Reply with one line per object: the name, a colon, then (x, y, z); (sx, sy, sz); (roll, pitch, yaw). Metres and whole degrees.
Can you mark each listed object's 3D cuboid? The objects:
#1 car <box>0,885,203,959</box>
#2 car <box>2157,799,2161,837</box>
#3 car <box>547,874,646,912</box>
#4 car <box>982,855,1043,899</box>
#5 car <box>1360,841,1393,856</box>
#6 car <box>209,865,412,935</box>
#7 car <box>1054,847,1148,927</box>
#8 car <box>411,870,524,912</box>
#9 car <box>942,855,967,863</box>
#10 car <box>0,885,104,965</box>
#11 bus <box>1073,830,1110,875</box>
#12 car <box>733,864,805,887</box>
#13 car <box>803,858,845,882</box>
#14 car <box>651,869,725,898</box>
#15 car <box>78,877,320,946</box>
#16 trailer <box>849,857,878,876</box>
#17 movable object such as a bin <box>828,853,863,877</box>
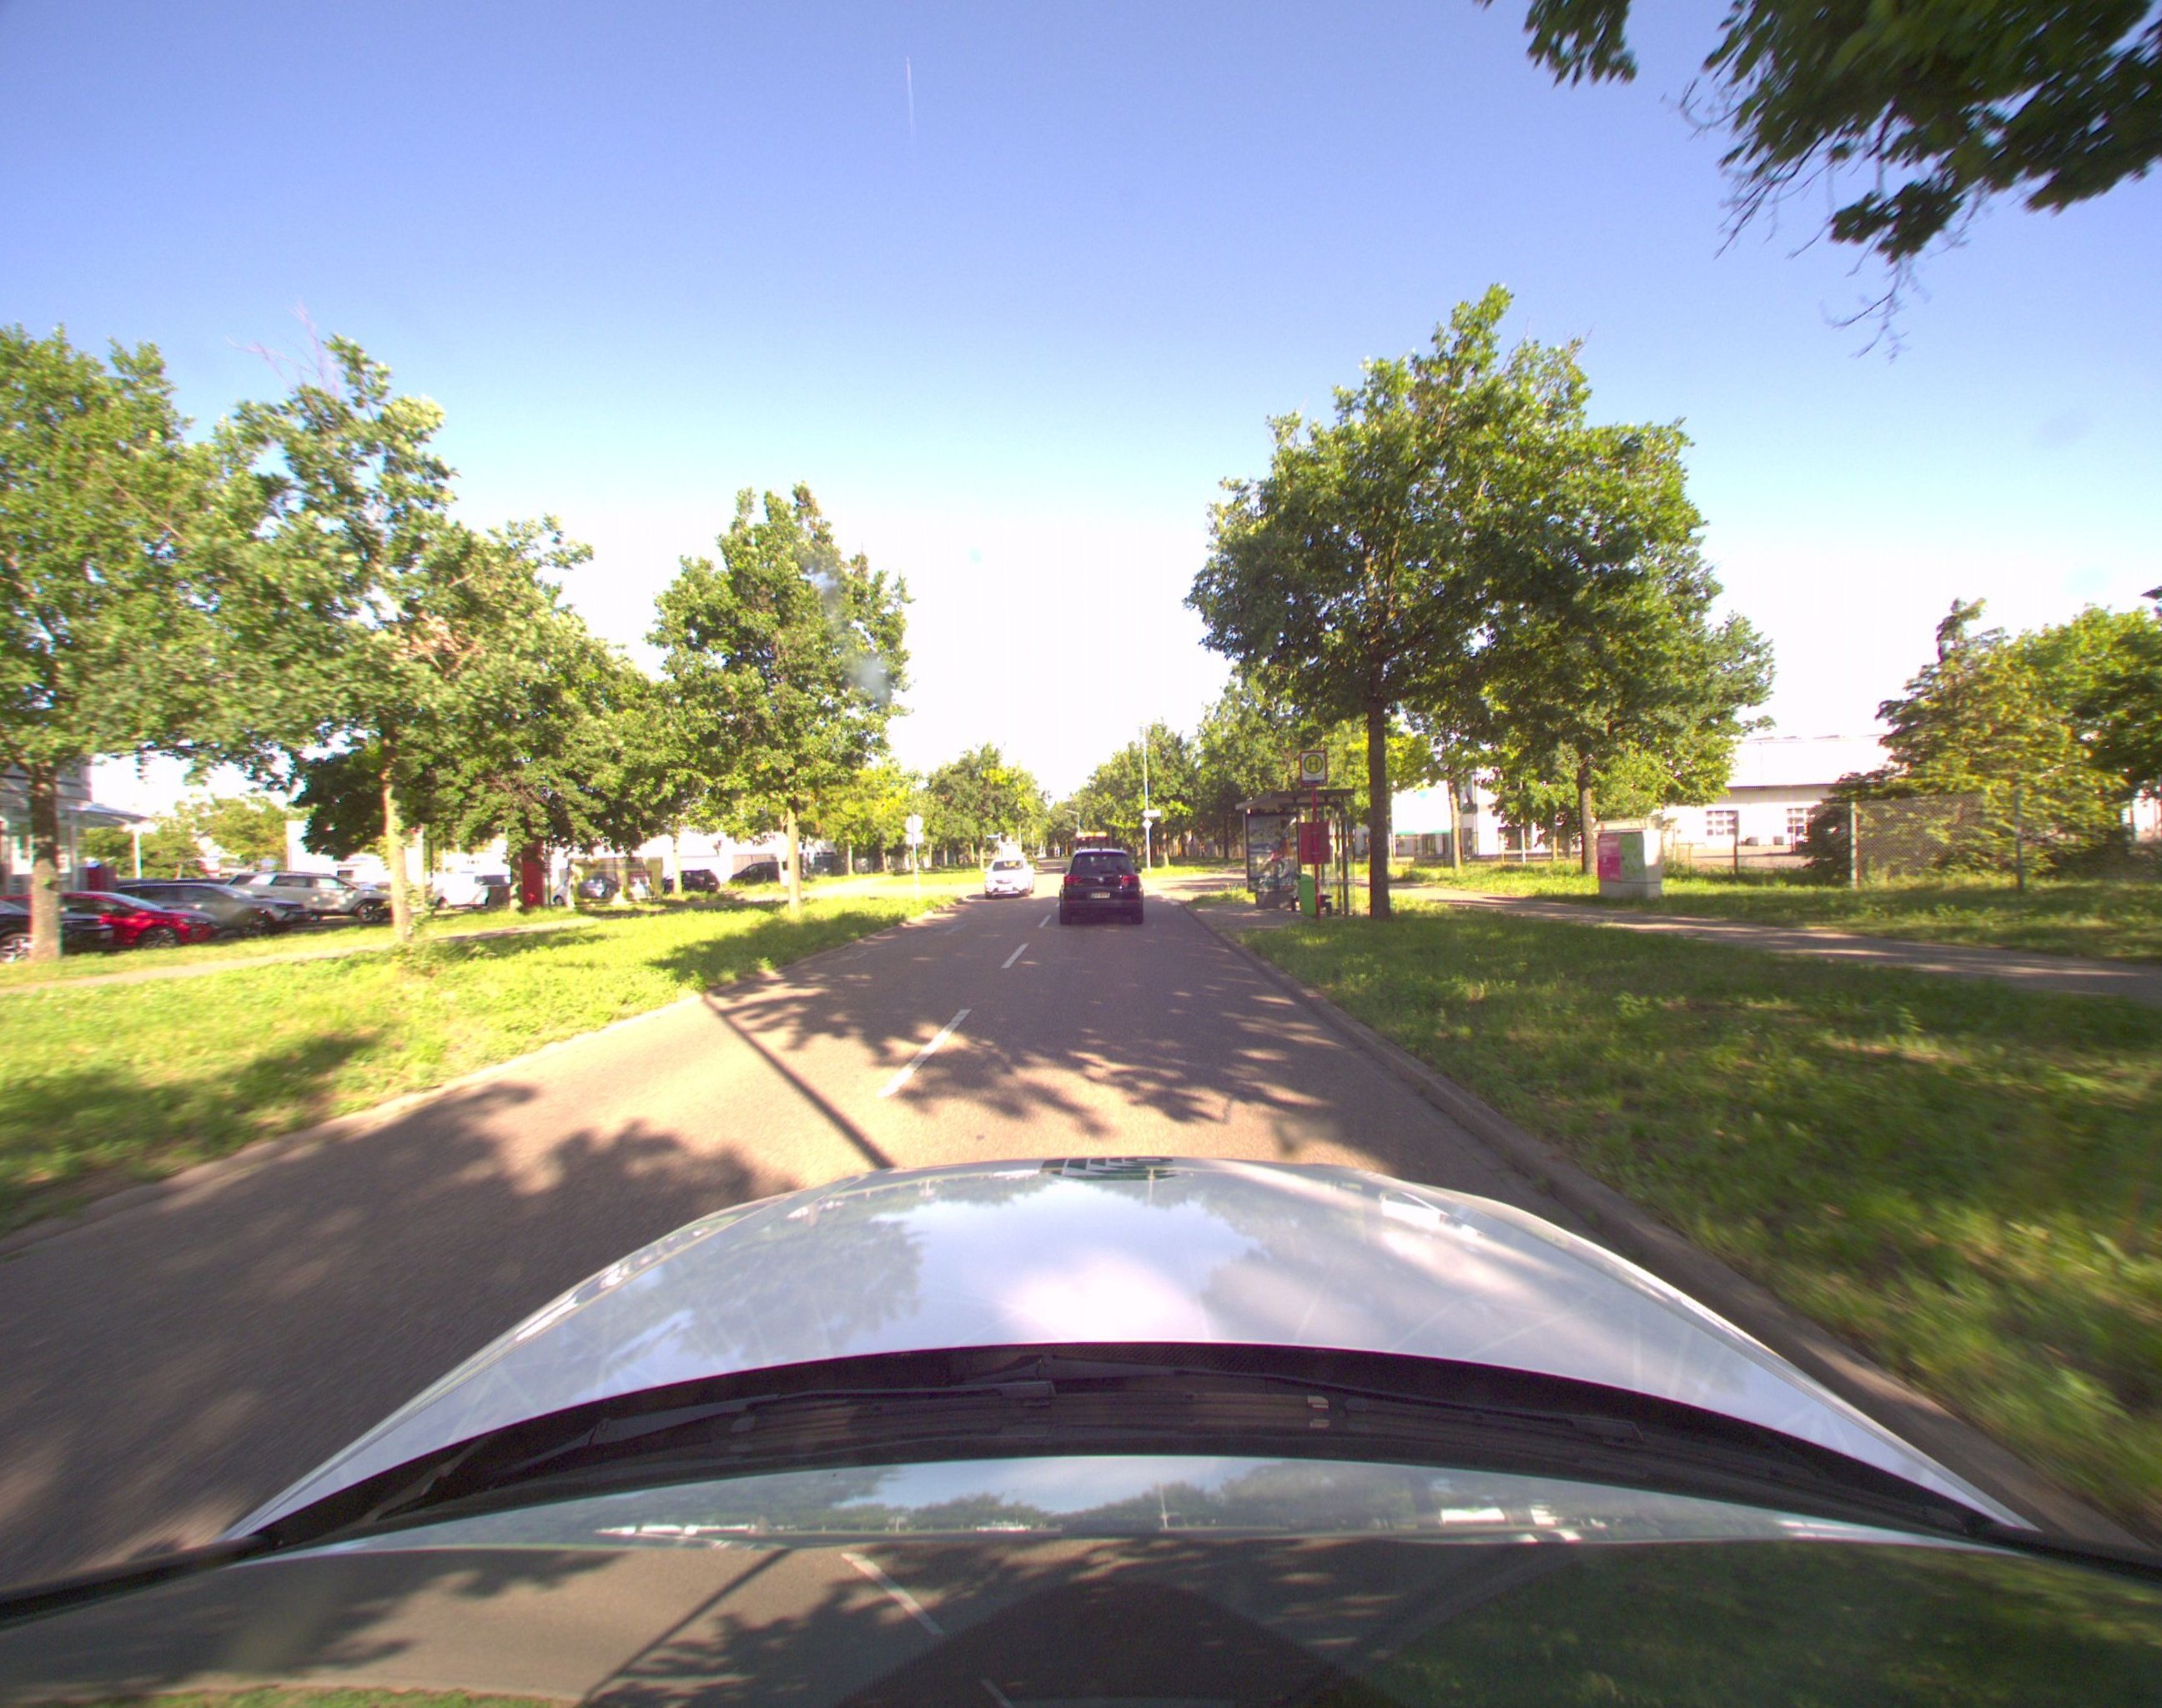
car: (-24.303, 1.617, 19.462); (4.189, 1.491, 1.977); (-2, 0, -37)
car: (56.907, -1.885, 40.184); (1.979, 1.986, 4.753); (-2, 0, 14)
car: (-23.187, 1.863, 39.034); (3.715, 1.618, 1.971); (-2, 0, 14)
car: (-2.551, 0.820, 31.217); (1.737, 1.465, 4.429); (-3, 0, 2)
car: (30.009, -0.564, 82.756); (1.761, 1.383, 3.763); (-2, 0, -3)
car: (-26.118, 1.492, 27.914); (4.884, 2.013, 1.977); (-2, 0, -40)
car: (0.500, 0.670, 19.177); (1.928, 1.656, 4.429); (-1, 0, 2)
car: (-30.735, 1.850, 40.806); (4.970, 1.906, 1.950); (-2, 0, 18)
car: (-24.111, 1.000, 155.368); (4.180, 1.321, 1.943); (-2, 0, 3)
car: (-23.277, 1.521, 16.458); (4.191, 1.538, 1.874); (-2, 0, -40)
bus: (0.817, -0.156, 70.374); (2.756, 3.456, 11.206); (-2, 0, -1)
car: (-22.871, 1.569, 59.810); (4.486, 1.479, 1.941); (-2, 0, 0)
car: (-23.550, 1.453, 74.955); (2.030, 1.988, 5.804); (-2, 0, -1)
car: (-23.599, 1.767, 48.953); (3.641, 1.532, 1.830); (-2, 0, 16)
car: (-24.582, 1.550, 22.961); (4.183, 1.562, 1.981); (-2, 0, -30)
trailer: (-23.545, 1.353, 88.221); (2.095, 1.914, 3.740); (-2, 0, 0)
movable object such as a bin: (-23.368, 1.082, 81.090); (2.095, 2.217, 4.460); (-2, 0, 0)
